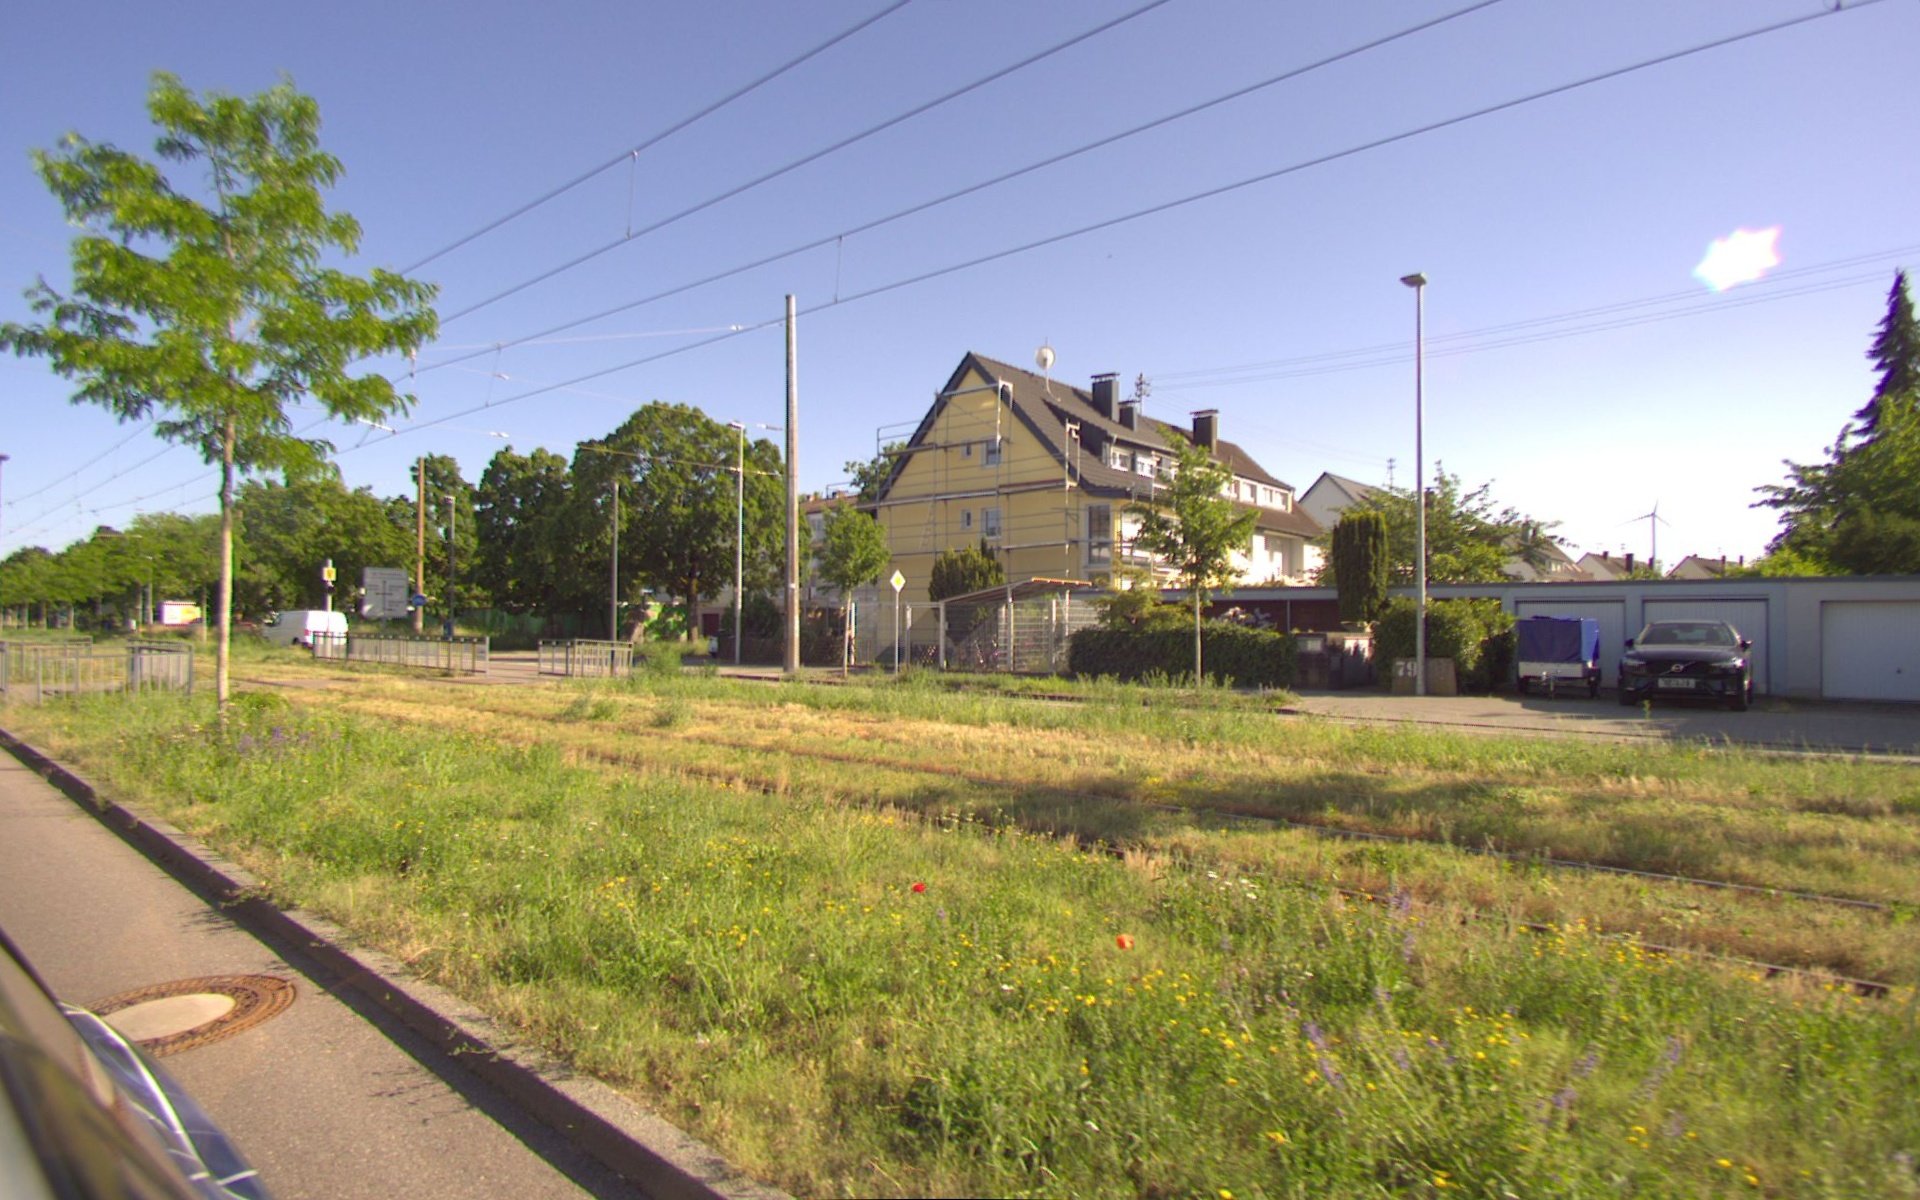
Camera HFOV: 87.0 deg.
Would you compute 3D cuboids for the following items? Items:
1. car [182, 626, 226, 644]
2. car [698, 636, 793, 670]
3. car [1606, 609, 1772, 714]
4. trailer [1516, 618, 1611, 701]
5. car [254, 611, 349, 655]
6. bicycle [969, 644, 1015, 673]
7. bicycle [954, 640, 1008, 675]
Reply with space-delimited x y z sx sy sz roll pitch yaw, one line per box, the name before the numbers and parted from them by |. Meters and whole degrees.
car | -83.030 3.810 111.219 1.868 1.925 4.820 0 -2 -9
car | -9.836 2.412 46.564 1.852 1.414 3.946 2 -1 40
car | 13.793 1.127 19.435 2.044 1.748 4.509 -1 -3 29
trailer | 13.063 1.242 21.856 1.397 1.660 2.885 -1 -2 38
car | -30.327 1.497 46.582 4.687 1.929 1.883 -1 -2 32
bicycle | 0.957 1.760 30.499 1.508 0.827 0.307 -1 -1 41
bicycle | 0.616 1.691 29.878 1.748 0.949 0.419 -1 -1 41
